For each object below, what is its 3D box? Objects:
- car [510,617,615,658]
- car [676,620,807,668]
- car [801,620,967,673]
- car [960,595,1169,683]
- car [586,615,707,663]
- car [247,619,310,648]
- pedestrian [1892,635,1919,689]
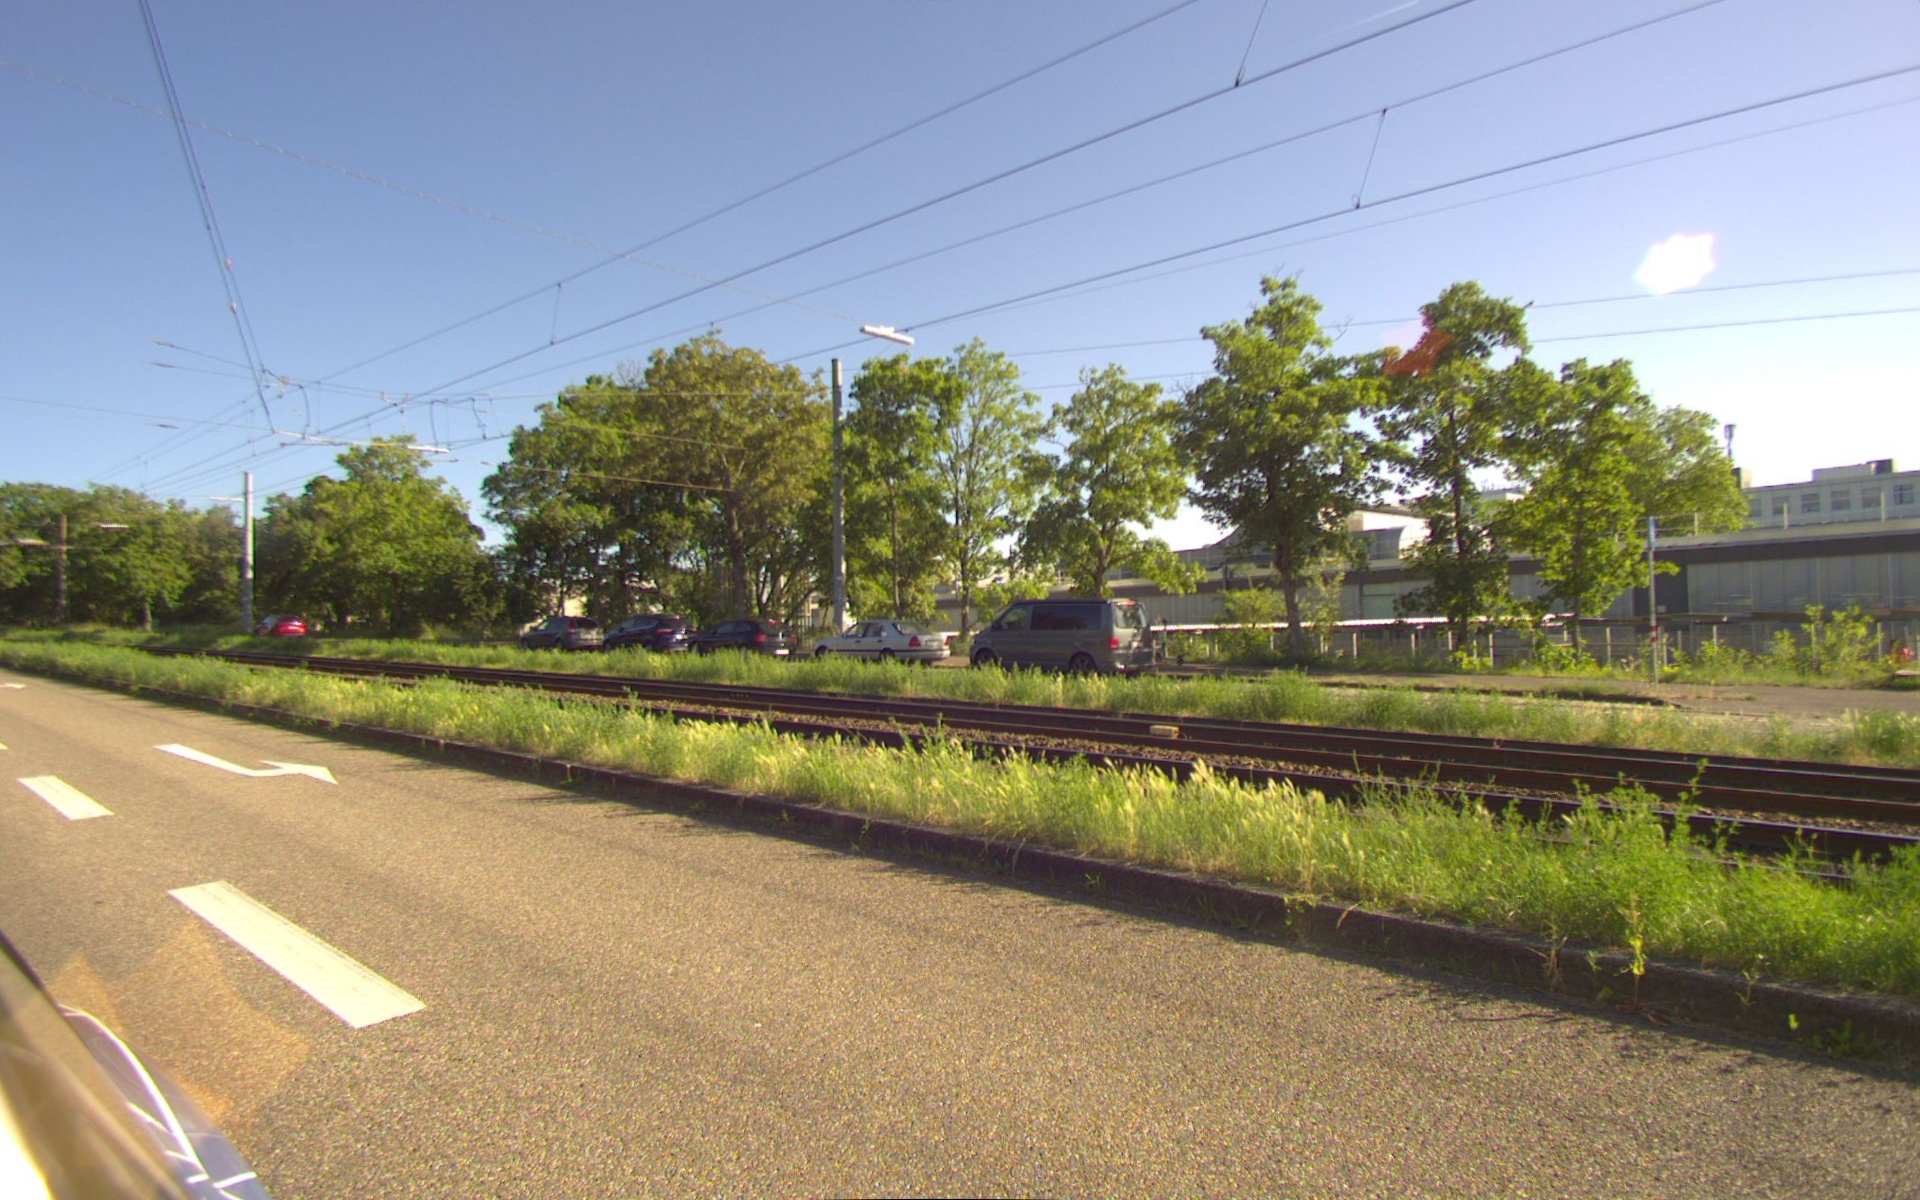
[{"bbox_3d":[-16.262,1.520,41.267,4.557,1.575,2.103,-2,-1,41],"label":"car"},{"bbox_3d":[-7.237,1.422,33.239,4.486,1.437,1.935,-2,-1,42],"label":"car"},{"bbox_3d":[-2.260,1.309,29.232,4.612,1.391,2.103,-2,-1,40],"label":"car"},{"bbox_3d":[2.479,0.927,24.789,4.684,1.949,2.178,-2,-1,42],"label":"car"},{"bbox_3d":[-11.432,1.389,36.791,4.614,1.599,2.102,-2,-1,41],"label":"car"},{"bbox_3d":[-42.456,2.082,62.995,4.797,1.746,2.290,-2,-1,43],"label":"car"},{"bbox_3d":[23.453,1.532,24.978,0.435,1.310,0.441,-1,-2,-1],"label":"pedestrian"}]
